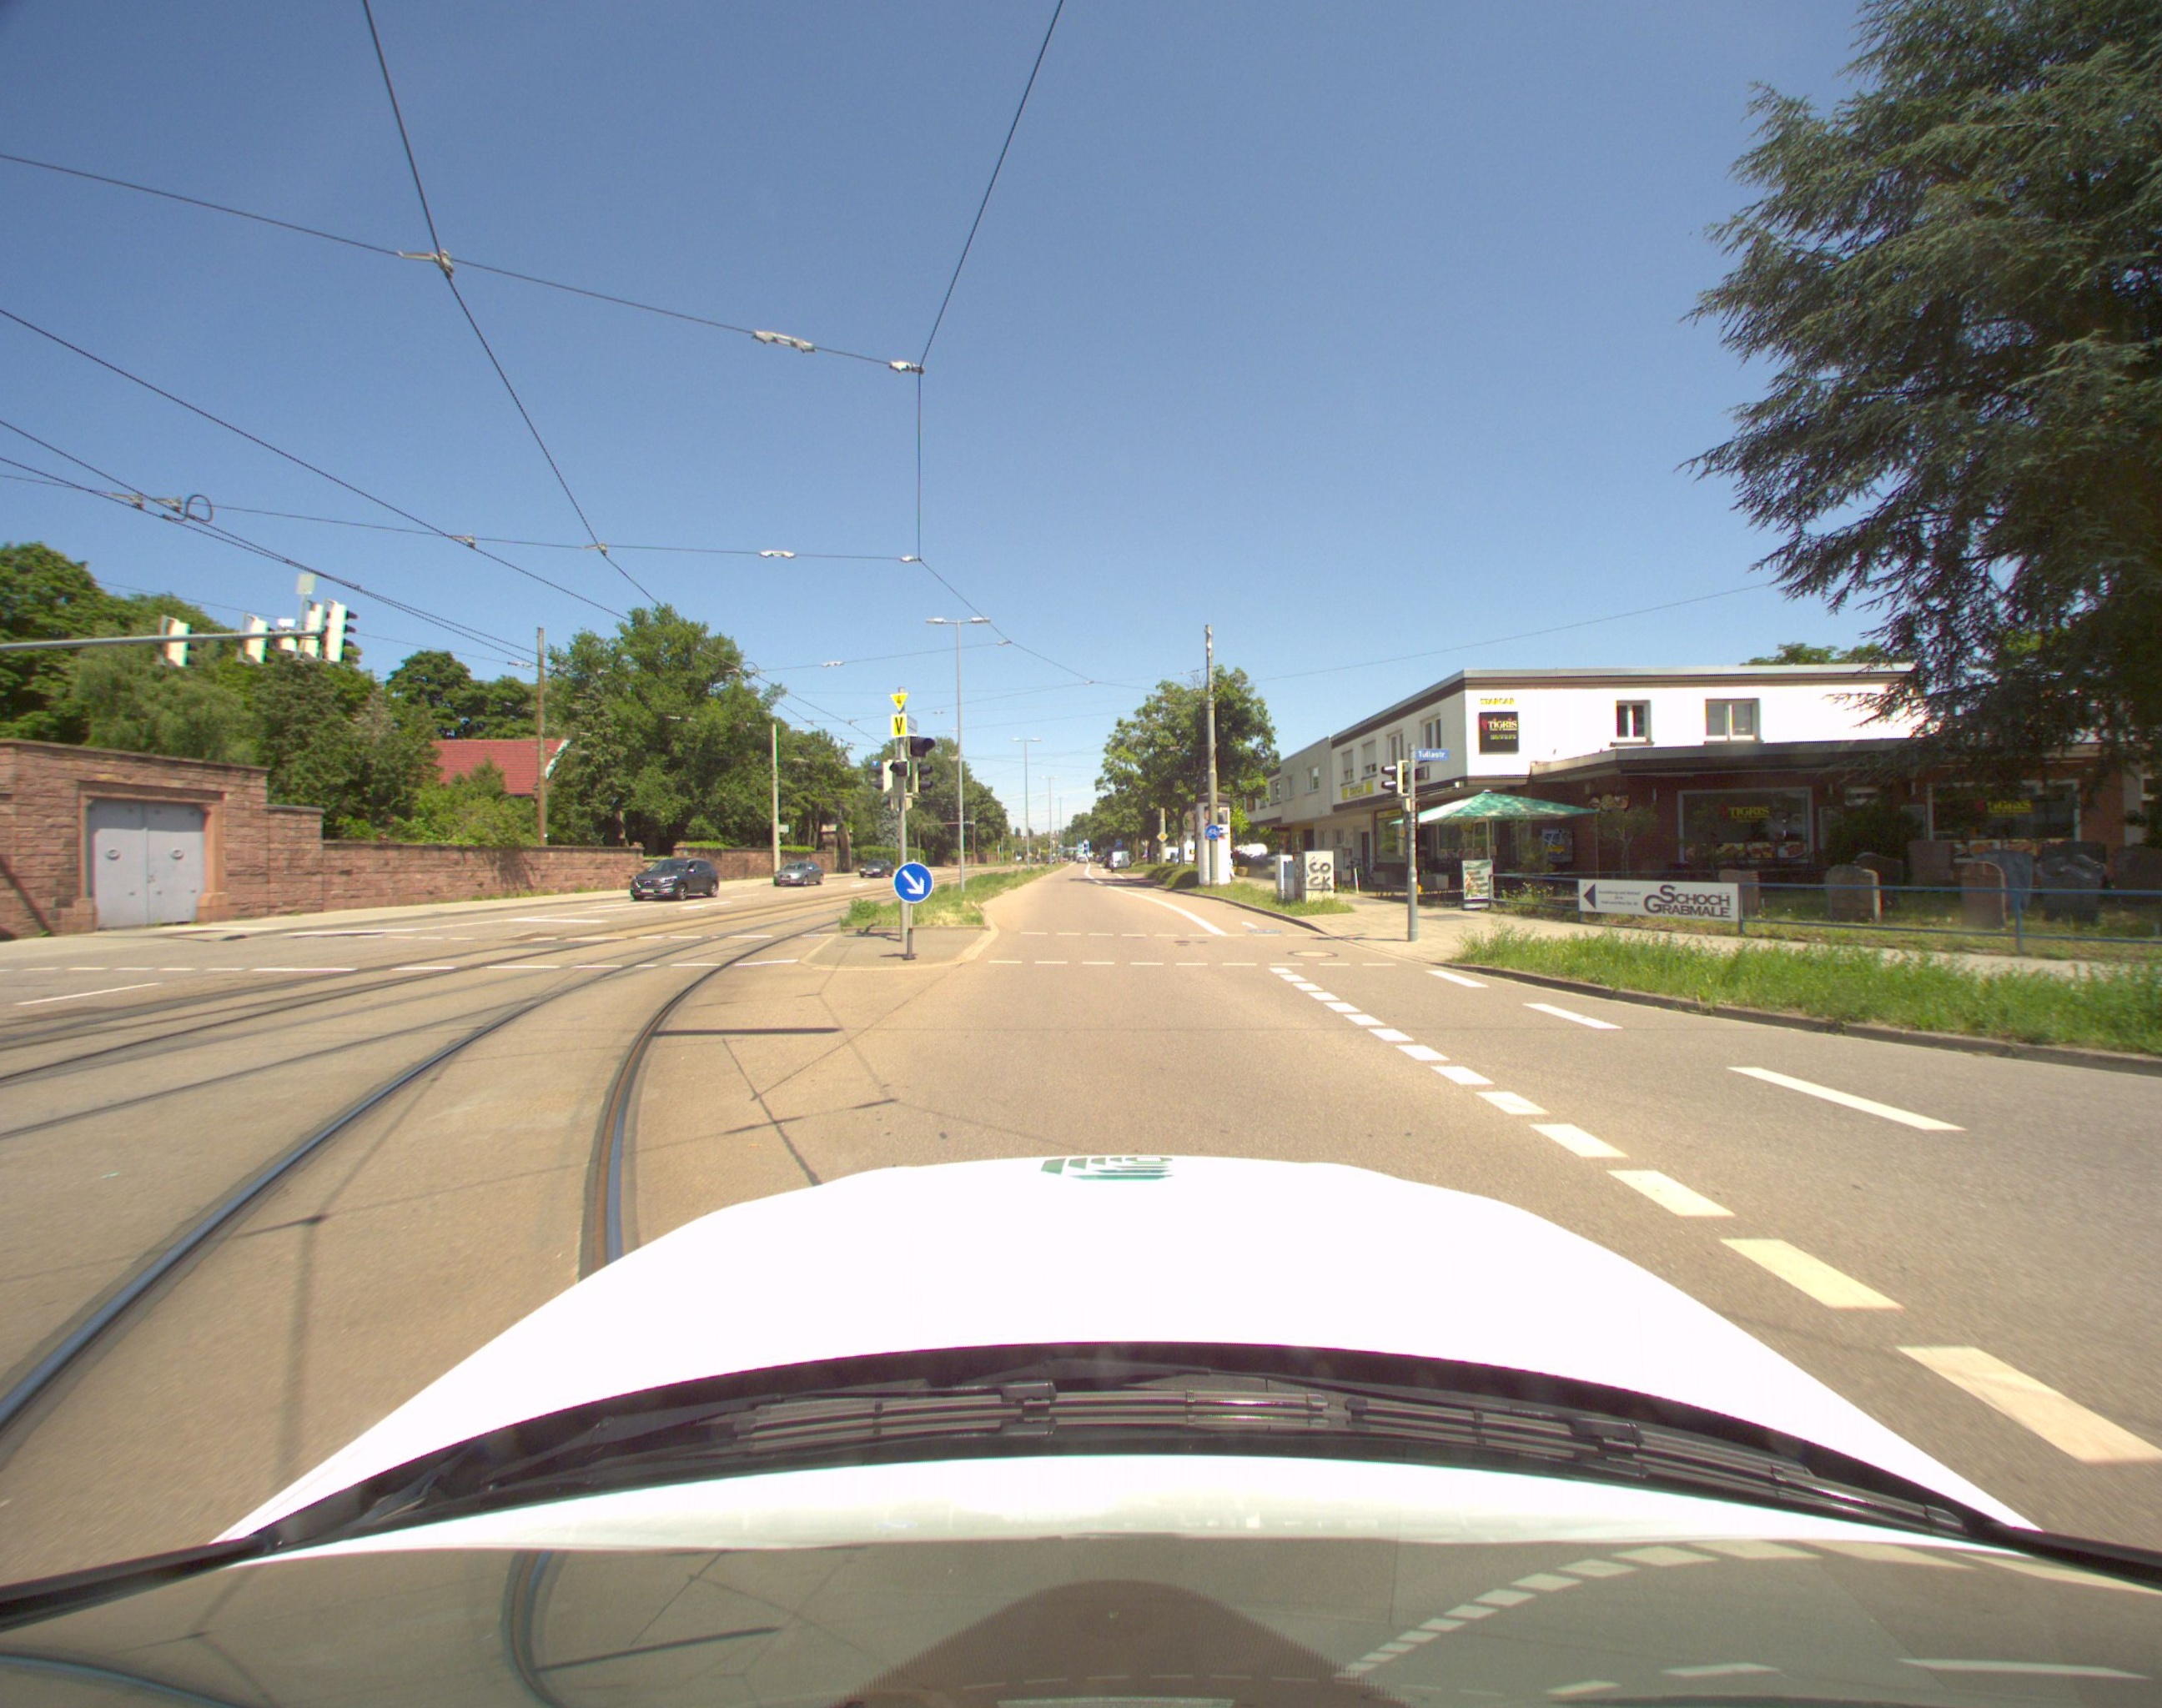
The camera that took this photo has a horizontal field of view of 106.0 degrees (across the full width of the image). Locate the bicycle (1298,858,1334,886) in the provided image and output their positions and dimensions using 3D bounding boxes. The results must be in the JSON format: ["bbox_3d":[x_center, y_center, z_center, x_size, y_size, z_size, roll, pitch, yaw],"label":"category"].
[{"bbox_3d":[9.517,0.701,33.042,1.028,1.014,2.643,-1,1,8],"label":"bicycle"}]

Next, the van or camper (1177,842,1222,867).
[{"bbox_3d":[13.310,0.058,91.986,4.743,2.671,2.135,-1,0,-1],"label":"van or camper"}]

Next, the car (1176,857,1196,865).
[{"bbox_3d":[13.961,0.920,108.122,2.578,0.962,1.149,-1,0,1],"label":"car"}]

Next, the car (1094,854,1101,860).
[{"bbox_3d":[4.376,0.791,213.866,1.520,1.296,3.490,-1,1,-2],"label":"car"}]

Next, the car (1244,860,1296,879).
[{"bbox_3d":[14.644,1.180,63.235,3.602,1.351,1.488,-1,0,-6],"label":"car"}]

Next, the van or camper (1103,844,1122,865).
[{"bbox_3d":[3.909,0.092,101.436,1.988,2.464,3.997,-1,0,-2],"label":"van or camper"}]

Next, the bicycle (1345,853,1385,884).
[{"bbox_3d":[11.322,0.563,32.586,0.983,1.164,2.643,-1,0,8],"label":"bicycle"}]

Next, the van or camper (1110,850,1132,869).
[{"bbox_3d":[3.857,0.521,78.946,1.915,1.772,4.001,-1,0,1],"label":"van or camper"}]

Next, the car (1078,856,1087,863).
[{"bbox_3d":[0.204,1.041,162.271,1.632,1.351,3.839,-1,0,-2],"label":"car"}]

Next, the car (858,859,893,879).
[{"bbox_3d":[-15.905,1.134,63.263,1.636,1.399,4.115,0,1,0],"label":"car"}]

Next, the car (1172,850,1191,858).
[{"bbox_3d":[13.968,0.023,112.995,2.578,0.962,1.149,-1,0,1],"label":"car"}]

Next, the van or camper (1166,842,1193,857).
[{"bbox_3d":[14.080,-0.670,116.368,3.547,2.145,1.602,-1,0,-1],"label":"van or camper"}]

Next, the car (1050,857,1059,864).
[{"bbox_3d":[-4.088,1.019,126.432,1.289,1.054,2.596,-1,0,-5],"label":"car"}]

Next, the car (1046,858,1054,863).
[{"bbox_3d":[-6.194,1.299,161.746,1.487,1.046,3.579,-1,0,0],"label":"car"}]

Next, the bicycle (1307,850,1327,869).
[{"bbox_3d":[13.568,0.299,46.837,0.505,1.065,1.862,1,0,-3],"label":"bicycle"}]

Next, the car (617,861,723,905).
[{"bbox_3d":[-16.396,1.096,32.793,1.813,1.603,4.522,-1,0,2],"label":"car"}]

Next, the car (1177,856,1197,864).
[{"bbox_3d":[13.656,0.793,105.009,2.575,0.962,1.151,-1,0,5],"label":"car"}]

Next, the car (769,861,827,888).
[{"bbox_3d":[-16.171,1.143,46.724,1.634,1.421,4.171,0,1,3],"label":"car"}]
